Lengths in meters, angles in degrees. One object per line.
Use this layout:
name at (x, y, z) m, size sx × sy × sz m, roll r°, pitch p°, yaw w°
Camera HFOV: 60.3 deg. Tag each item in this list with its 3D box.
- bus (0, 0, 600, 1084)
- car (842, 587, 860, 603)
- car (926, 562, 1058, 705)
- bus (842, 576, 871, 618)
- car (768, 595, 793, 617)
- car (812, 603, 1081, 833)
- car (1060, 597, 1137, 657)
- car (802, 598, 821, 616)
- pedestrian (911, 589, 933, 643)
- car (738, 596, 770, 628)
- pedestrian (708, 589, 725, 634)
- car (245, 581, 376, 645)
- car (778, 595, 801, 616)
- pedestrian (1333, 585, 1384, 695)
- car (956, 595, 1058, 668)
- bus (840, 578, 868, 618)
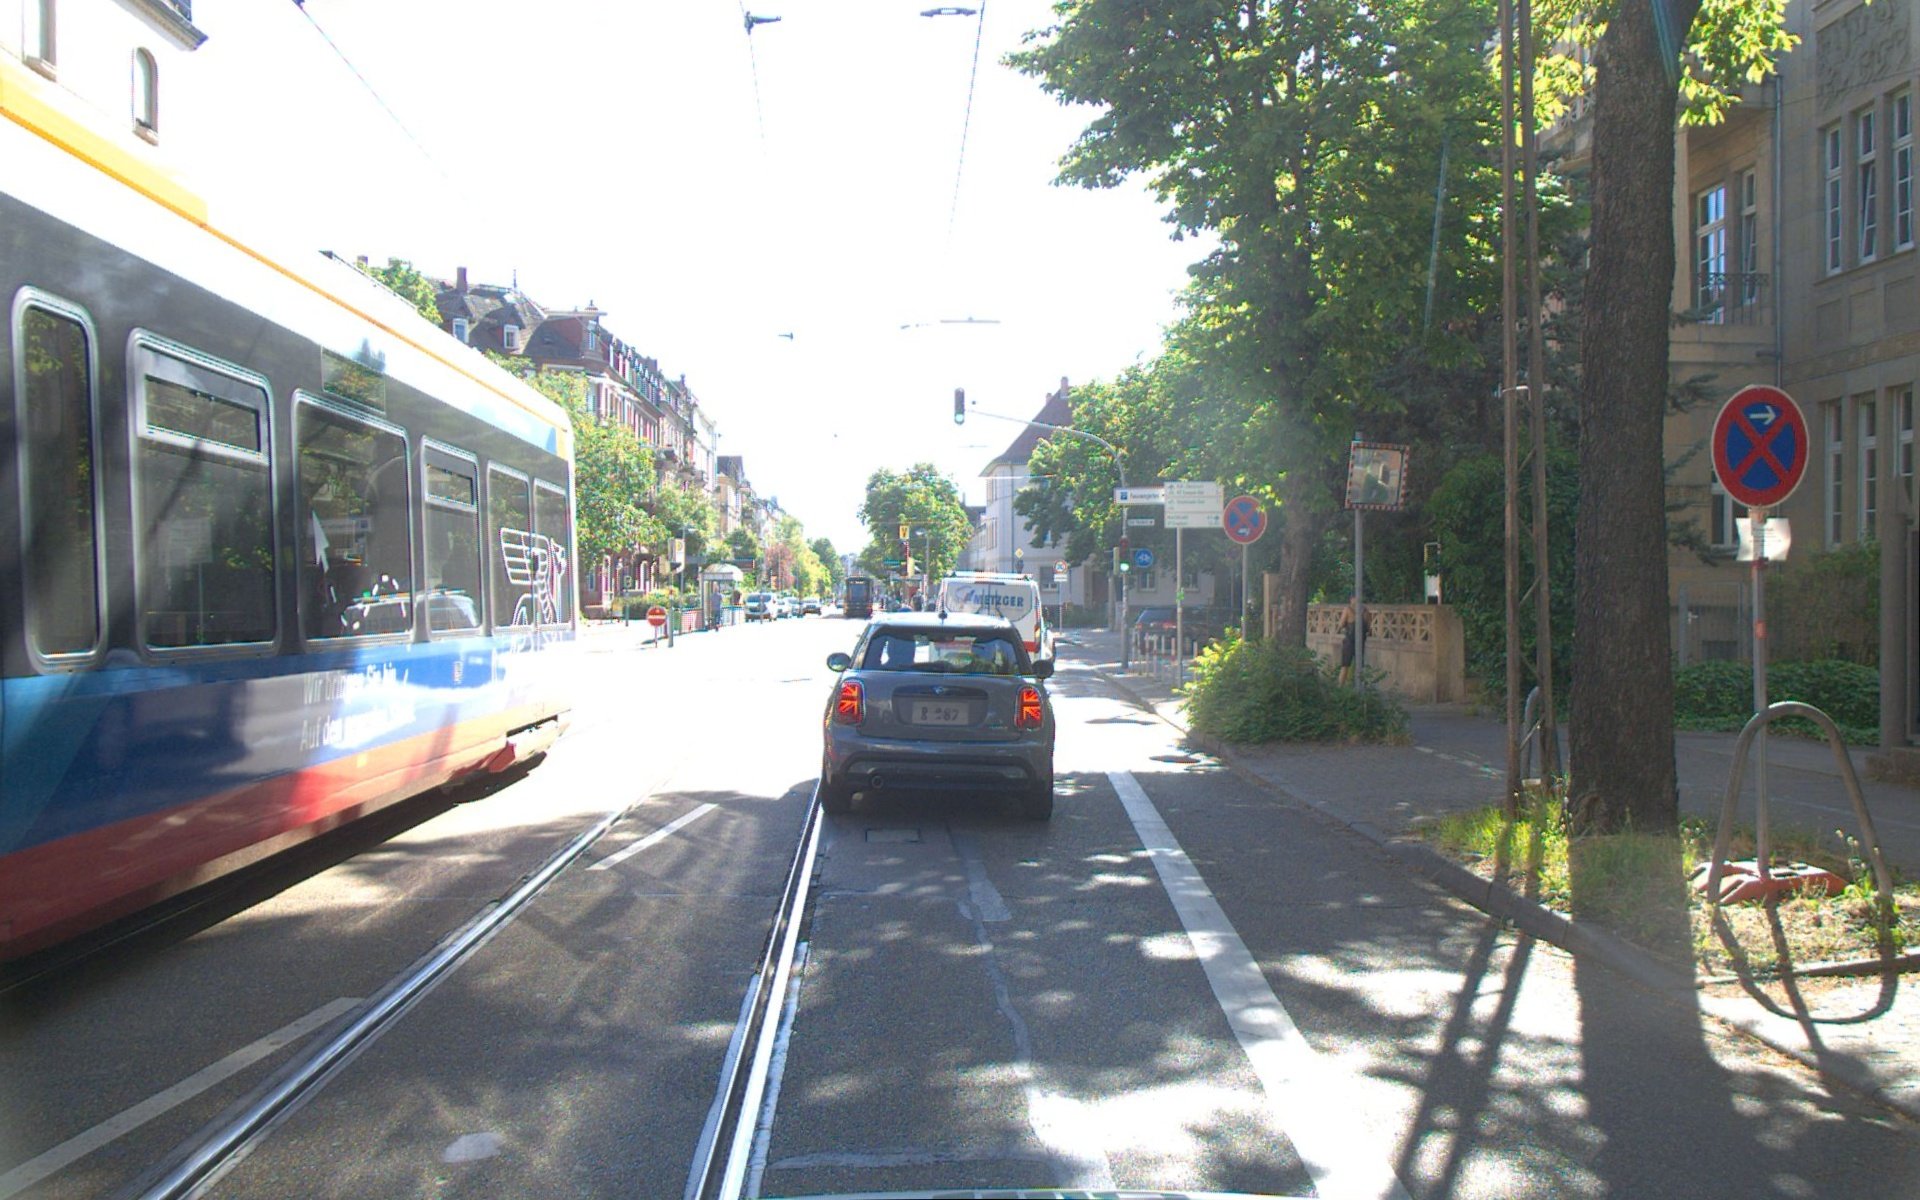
bus at (-4.584, -0.426, 9.999) m, size 2.793 × 3.843 × 12.188 m, roll 1°, pitch -1°, yaw -3°
car at (-11.682, -0.542, 177.659) m, size 1.827 × 1.591 × 3.996 m, roll 1°, pitch -1°, yaw -5°
car at (0.456, 0.558, 28.899) m, size 2.075 × 2.247 × 4.943 m, roll 1°, pitch -1°, yaw -1°
bus at (-9.095, -0.204, 144.808) m, size 2.339 × 3.558 × 7.375 m, roll 1°, pitch -1°, yaw -5°
car at (-13.585, 0.478, 125.485) m, size 1.741 × 1.646 × 3.996 m, roll 1°, pitch -1°, yaw -5°
car at (-0.129, 0.813, 13.097) m, size 1.779 × 1.514 × 3.999 m, roll 1°, pitch -1°, yaw -1°
car at (4.182, 0.808, 50.464) m, size 1.953 × 1.736 × 3.999 m, roll 1°, pitch -1°, yaw -1°
car at (-14.084, 0.657, 156.938) m, size 1.741 × 1.646 × 3.996 m, roll 1°, pitch -1°, yaw -5°
pedestrian at (-1.455, 0.606, 62.706) m, size 0.779 × 2.049 × 0.740 m, roll 1°, pitch -1°, yaw -3°
car at (-13.784, 0.819, 110.313) m, size 1.956 × 2.049 × 5.019 m, roll 1°, pitch -1°, yaw -9°
pedestrian at (-9.975, 0.468, 67.831) m, size 0.569 × 1.826 × 0.604 m, roll 0°, pitch 0°, yaw -19°
car at (-21.778, 0.437, 55.433) m, size 3.910 × 2.049 × 1.997 m, roll 1°, pitch -1°, yaw 27°
car at (-13.706, 0.475, 132.961) m, size 1.741 × 1.646 × 3.996 m, roll 1°, pitch -1°, yaw -5°
pedestrian at (6.253, 0.622, 25.984) m, size 0.580 × 1.700 × 0.646 m, roll -2°, pitch -1°, yaw -1°
car at (1.196, 0.742, 40.101) m, size 1.951 × 1.646 × 4.003 m, roll 1°, pitch -1°, yaw 9°
bus at (-9.781, -0.175, 152.196) m, size 2.339 × 3.558 × 7.375 m, roll 1°, pitch -1°, yaw -5°
